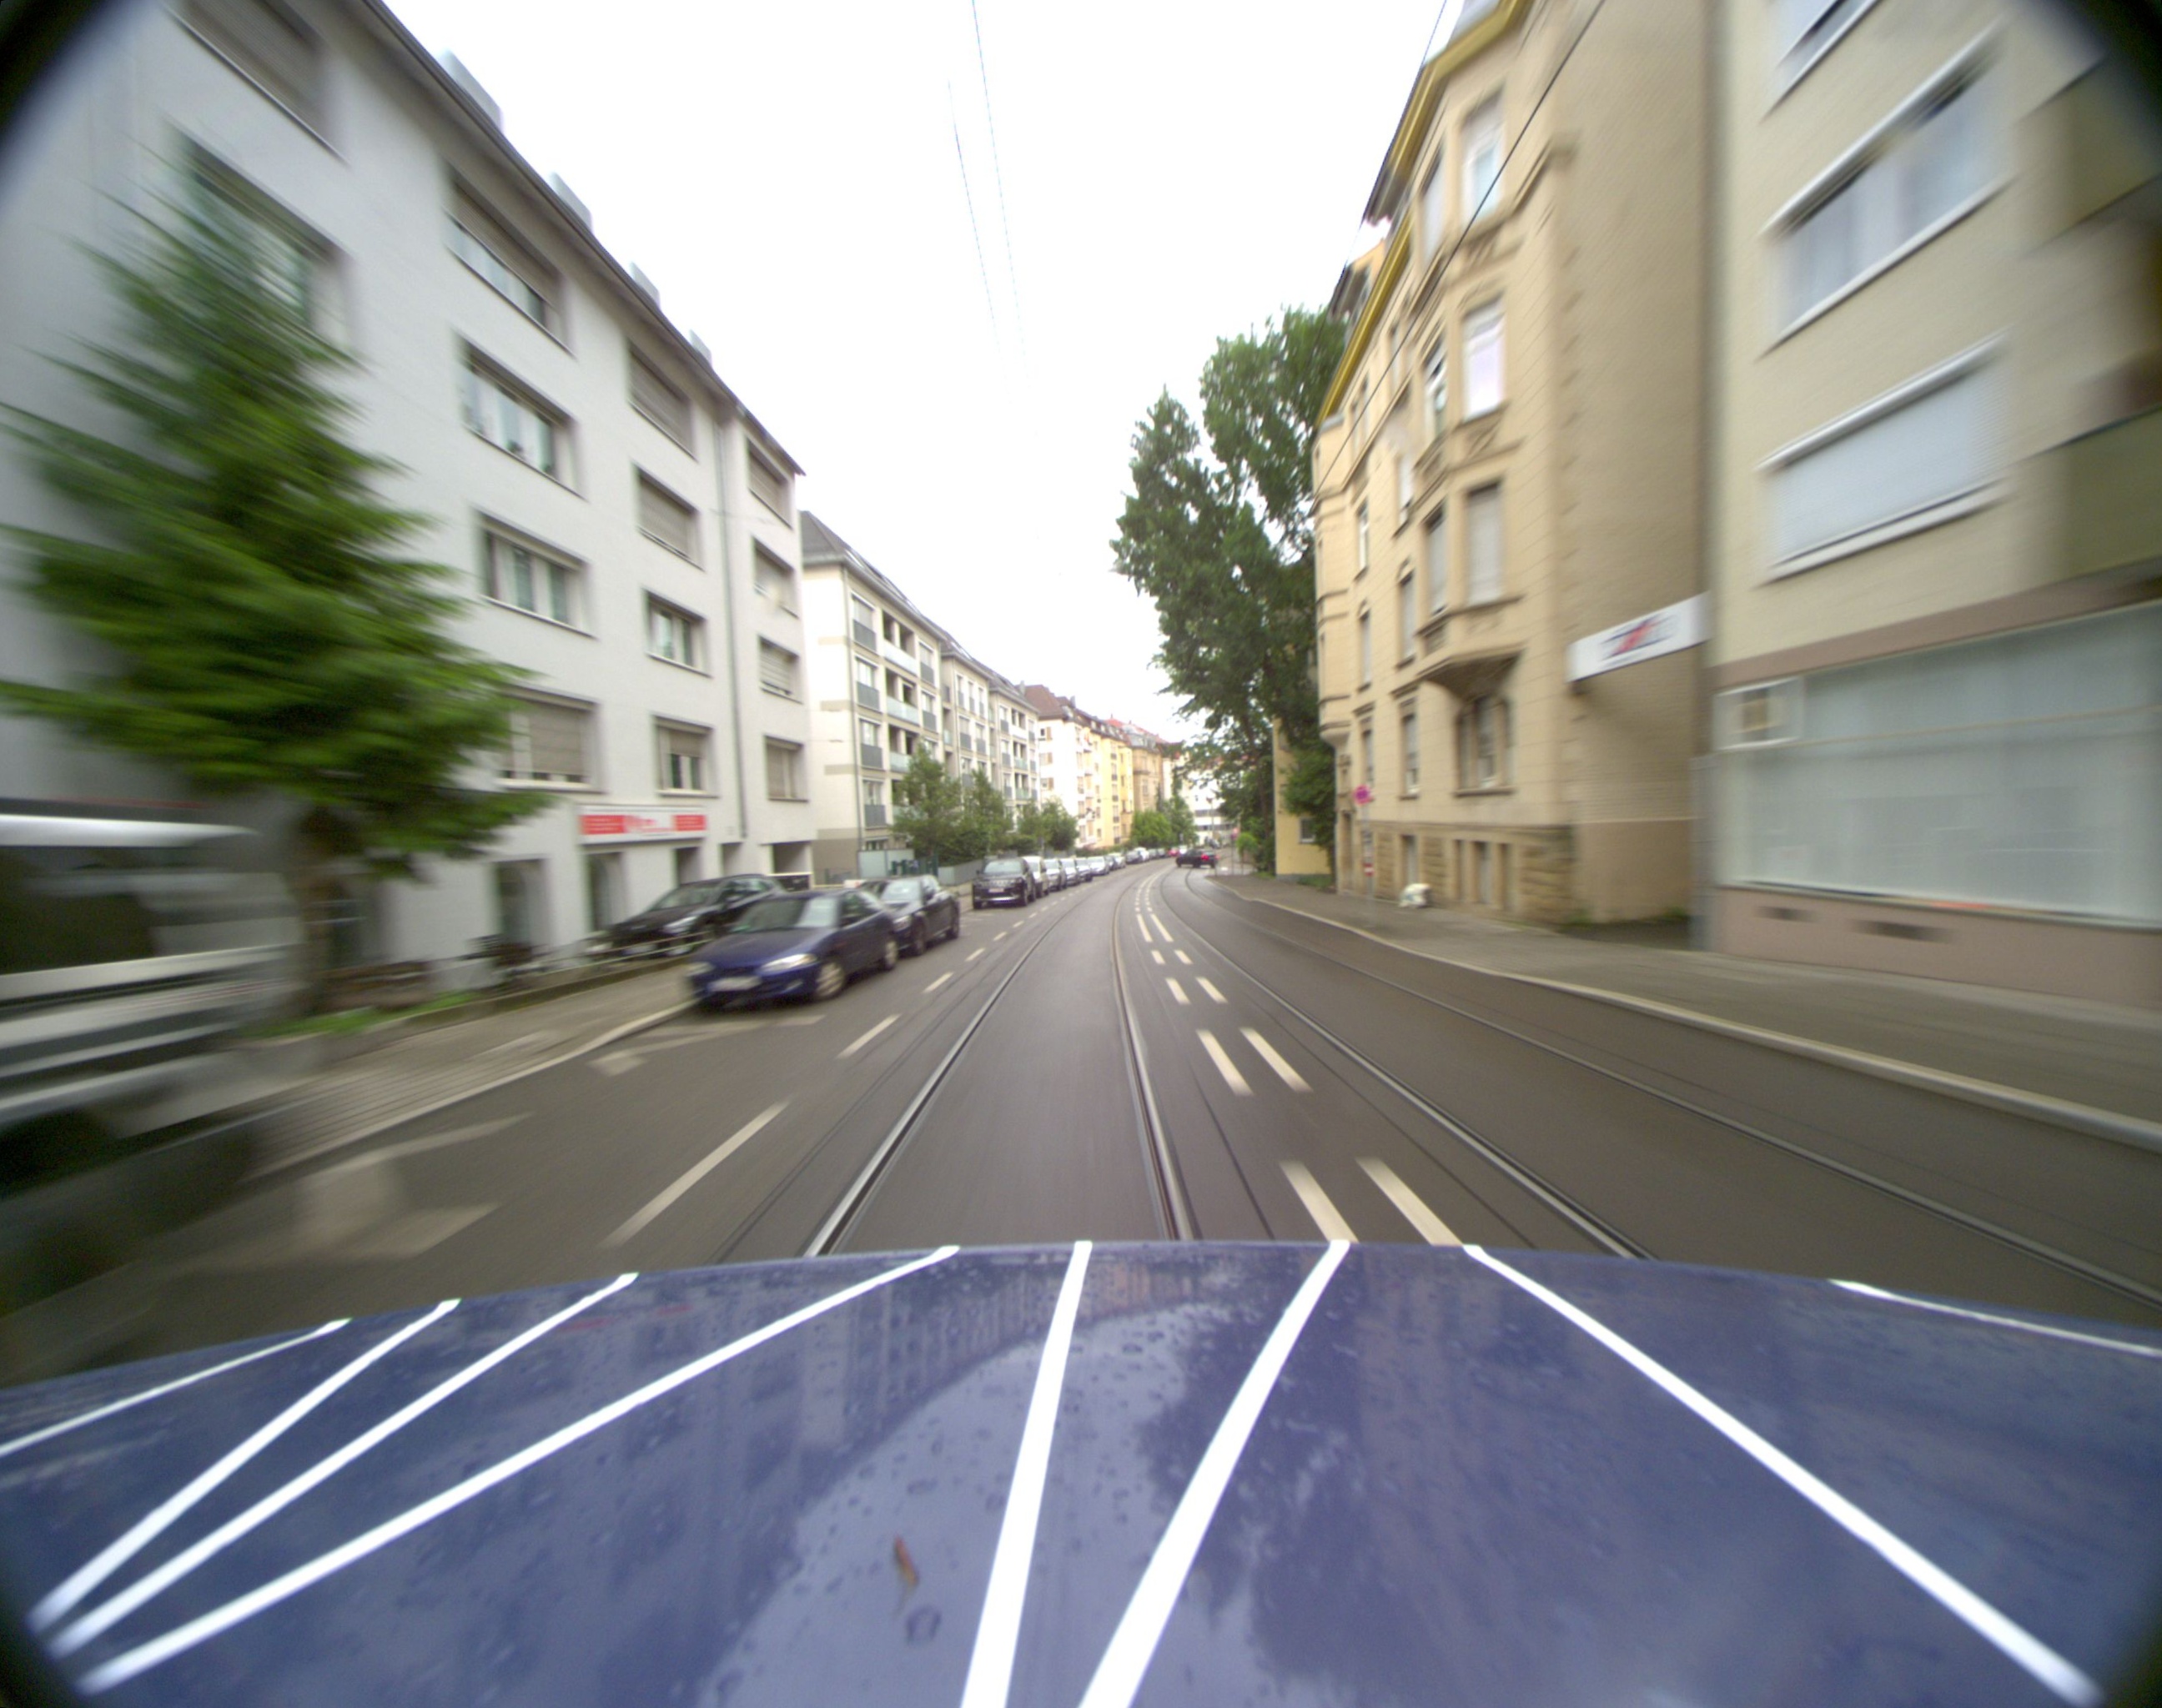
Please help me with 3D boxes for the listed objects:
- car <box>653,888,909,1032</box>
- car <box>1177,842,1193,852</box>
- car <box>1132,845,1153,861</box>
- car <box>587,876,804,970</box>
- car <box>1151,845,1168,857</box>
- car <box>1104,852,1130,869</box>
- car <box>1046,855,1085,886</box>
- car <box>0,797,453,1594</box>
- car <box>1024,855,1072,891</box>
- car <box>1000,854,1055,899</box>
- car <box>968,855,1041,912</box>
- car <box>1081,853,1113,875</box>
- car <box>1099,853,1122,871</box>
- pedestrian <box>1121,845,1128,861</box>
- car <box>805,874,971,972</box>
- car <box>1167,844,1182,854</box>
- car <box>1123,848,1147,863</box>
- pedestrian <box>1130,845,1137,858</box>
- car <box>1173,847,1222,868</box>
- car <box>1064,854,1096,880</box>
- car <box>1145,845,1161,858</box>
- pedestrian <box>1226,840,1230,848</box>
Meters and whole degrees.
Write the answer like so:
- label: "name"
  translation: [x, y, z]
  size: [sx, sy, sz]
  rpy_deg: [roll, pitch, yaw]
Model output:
- label: "car"
  translation: [-3.789, 1.278, 10.404]
  size: [1.682, 1.330, 3.883]
  rpy_deg: [-4, 0, 4]
- label: "car"
  translation: [16.227, -1.111, 118.150]
  size: [1.612, 1.434, 3.692]
  rpy_deg: [-3, 1, 19]
- label: "car"
  translation: [7.209, -0.120, 88.628]
  size: [1.797, 1.613, 3.870]
  rpy_deg: [-4, 1, 12]
- label: "car"
  translation: [-7.683, 1.305, 15.694]
  size: [1.816, 1.418, 4.155]
  rpy_deg: [-5, 0, 9]
- label: "car"
  translation: [10.623, -0.441, 102.642]
  size: [1.657, 1.360, 3.638]
  rpy_deg: [-4, 1, 14]
- label: "car"
  translation: [3.487, 0.593, 73.084]
  size: [1.721, 1.458, 4.394]
  rpy_deg: [-3, 1, 12]
- label: "car"
  translation: [-0.893, 0.971, 45.882]
  size: [1.836, 1.618, 4.664]
  rpy_deg: [-3, 0, 4]
- label: "car"
  translation: [-3.804, 0.932, 0.585]
  size: [2.134, 2.002, 5.349]
  rpy_deg: [-5, 0, -2]
- label: "car"
  translation: [-1.683, 0.932, 40.184]
  size: [1.836, 1.646, 4.688]
  rpy_deg: [-3, 1, 5]
- label: "car"
  translation: [-2.337, 0.946, 34.157]
  size: [1.782, 1.785, 4.472]
  rpy_deg: [-3, 0, 4]
- label: "car"
  translation: [-2.775, 1.020, 28.664]
  size: [1.947, 1.785, 4.821]
  rpy_deg: [-4, 1, 3]
- label: "car"
  translation: [1.328, 0.782, 61.003]
  size: [1.861, 1.507, 4.791]
  rpy_deg: [-3, 0, 8]
- label: "car"
  translation: [2.679, 0.702, 68.206]
  size: [1.599, 1.416, 3.517]
  rpy_deg: [-3, 1, 10]
- label: "pedestrian"
  translation: [4.930, -0.122, 86.499]
  size: [0.716, 1.703, 0.665]
  rpy_deg: [1, 2, 16]
- label: "car"
  translation: [-3.590, 1.223, 15.100]
  size: [1.798, 1.429, 4.612]
  rpy_deg: [-4, 0, 3]
- label: "car"
  translation: [13.471, -0.745, 109.445]
  size: [1.555, 1.360, 3.127]
  rpy_deg: [-3, 1, 19]
- label: "car"
  translation: [5.912, 0.134, 83.091]
  size: [1.797, 1.444, 4.106]
  rpy_deg: [-4, 1, 15]
- label: "pedestrian"
  translation: [6.430, -0.359, 92.737]
  size: [0.666, 1.560, 0.915]
  rpy_deg: [1, 2, 16]
- label: "car"
  translation: [10.513, 0.290, 68.987]
  size: [2.074, 1.668, 4.760]
  rpy_deg: [-2, 2, -27]
- label: "car"
  translation: [-0.024, 0.842, 51.394]
  size: [1.980, 1.575, 4.566]
  rpy_deg: [-3, 0, 1]
- label: "car"
  translation: [9.283, -0.297, 97.365]
  size: [1.589, 1.434, 3.478]
  rpy_deg: [-4, 1, 12]
- label: "pedestrian"
  translation: [30.571, -2.091, 157.945]
  size: [0.649, 1.651, 0.650]
  rpy_deg: [-1, 0, 10]
